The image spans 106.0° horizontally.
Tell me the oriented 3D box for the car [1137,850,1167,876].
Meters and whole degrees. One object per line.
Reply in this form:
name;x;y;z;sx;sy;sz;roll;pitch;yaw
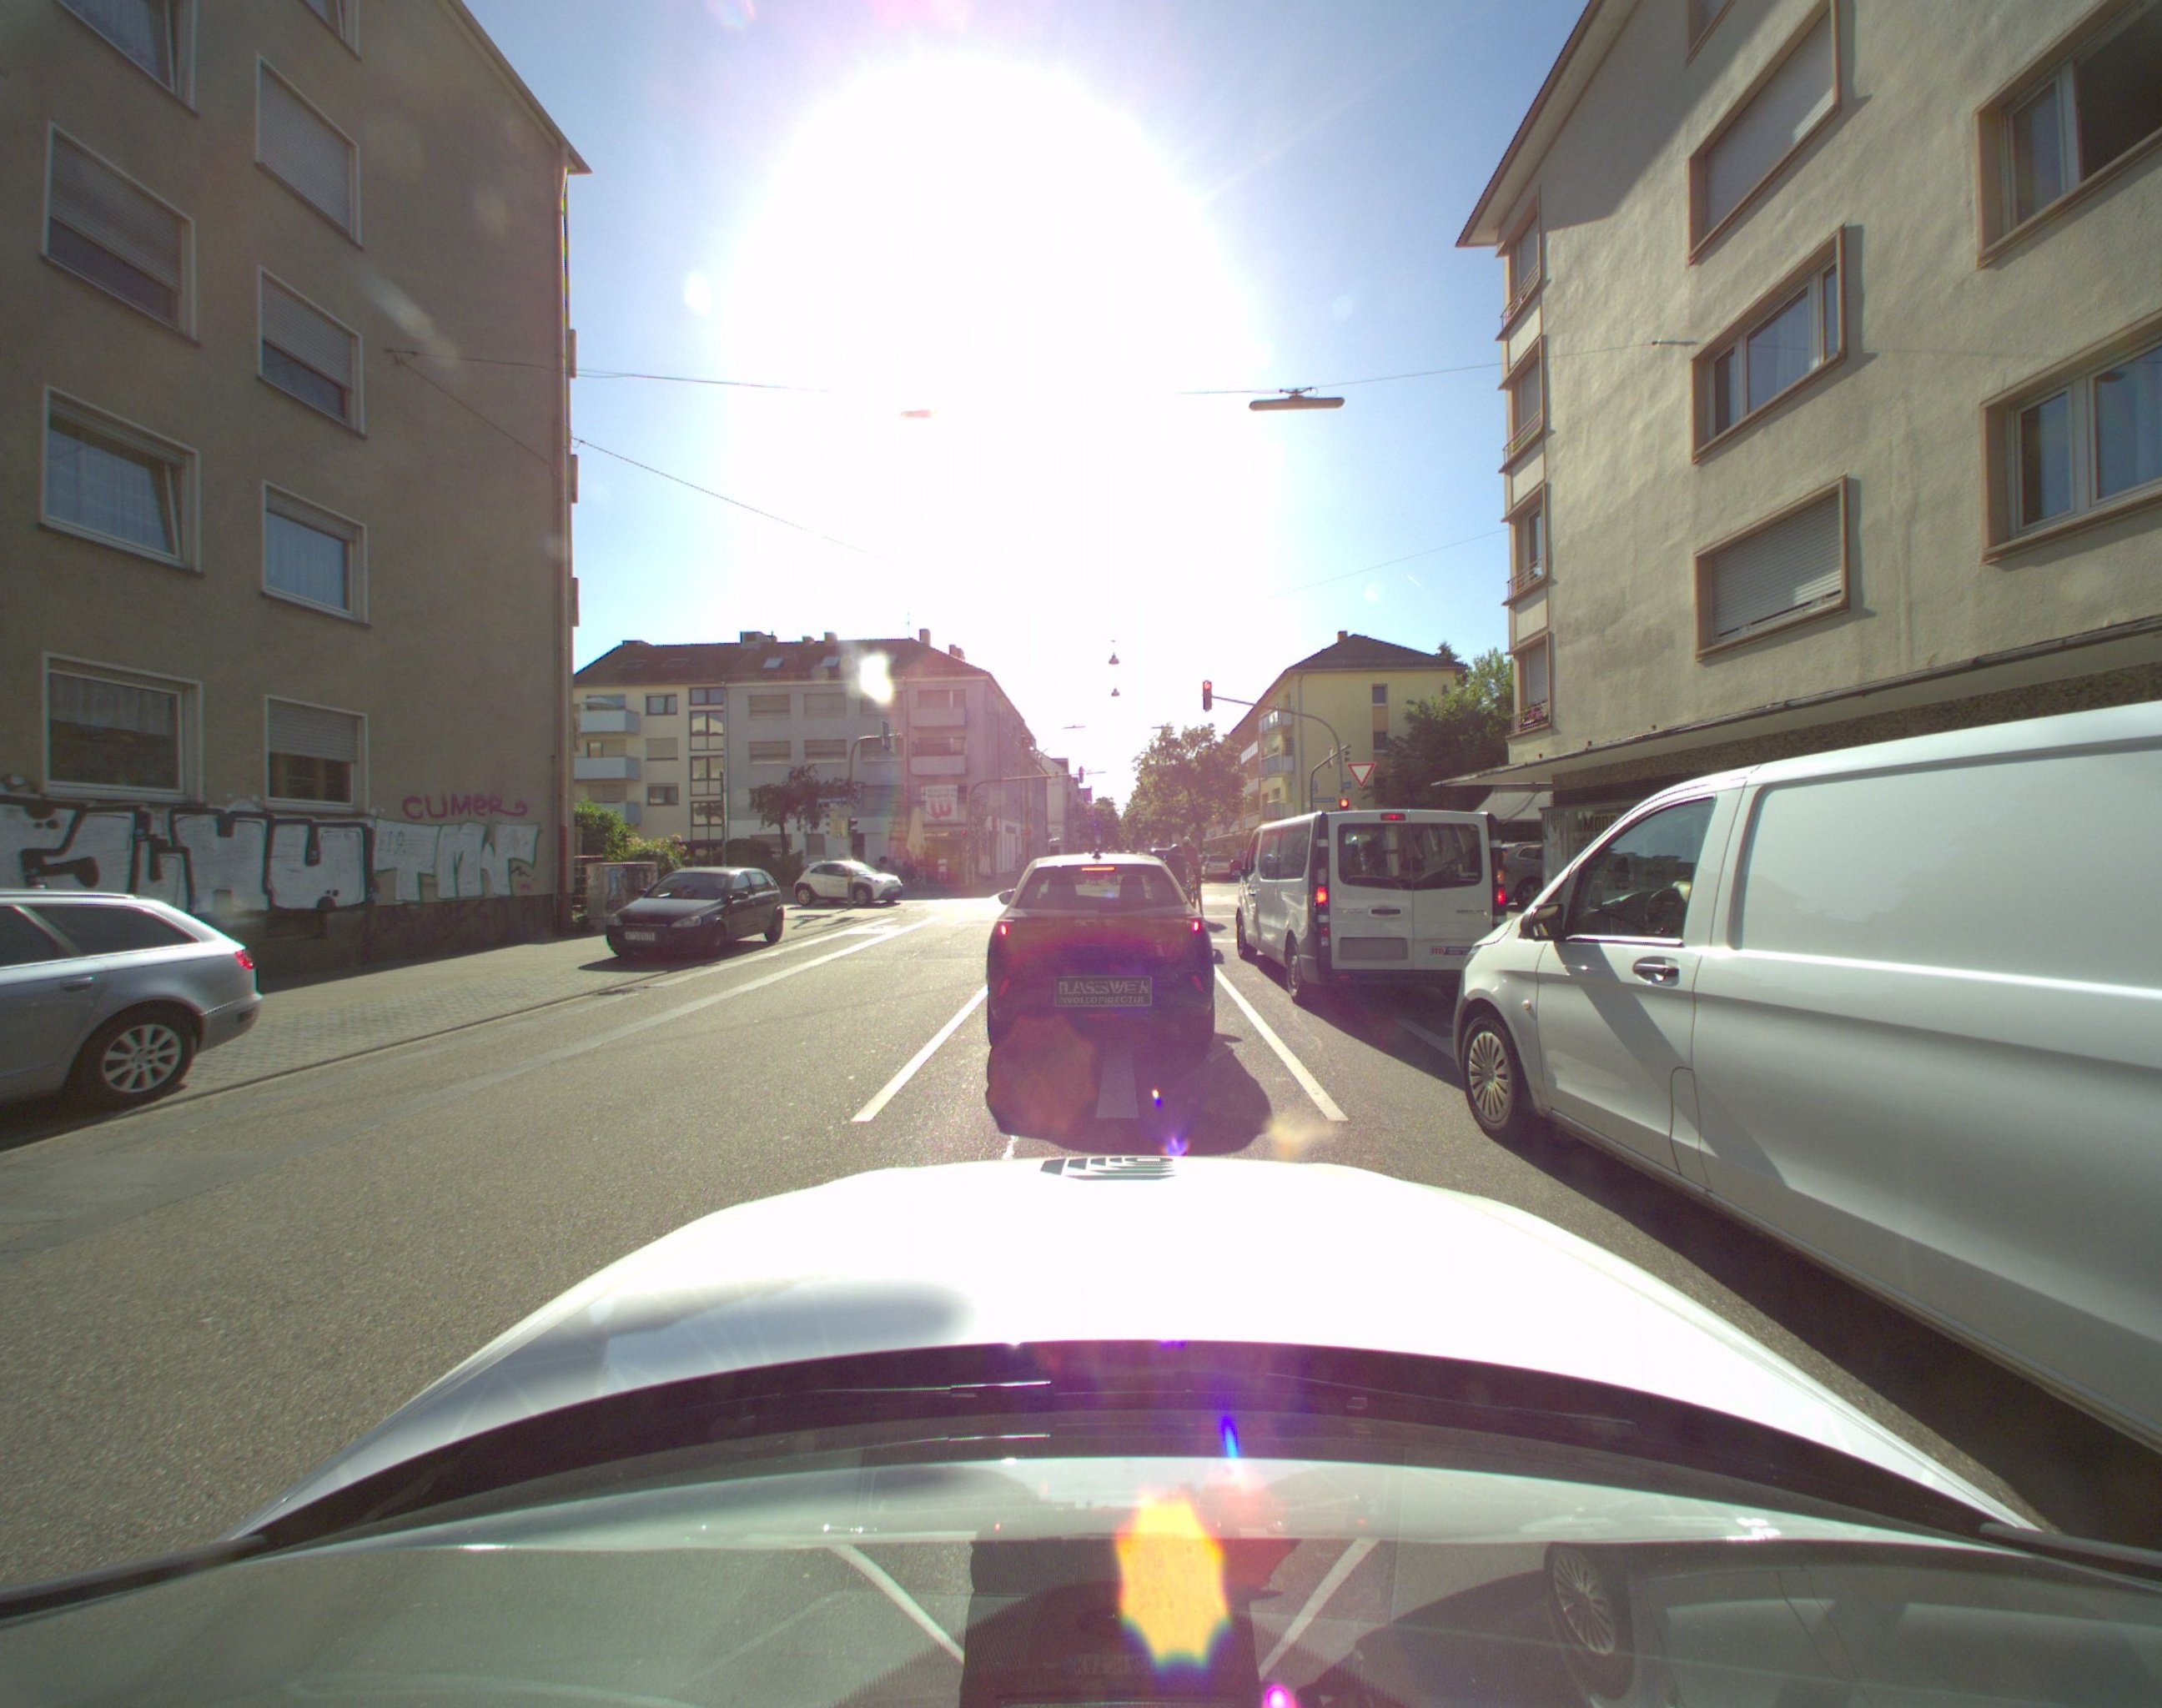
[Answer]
car;4.854;0.602;56.003;1.894;1.728;4.003;-1;0;3

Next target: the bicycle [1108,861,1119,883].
bicycle;1.813;0.976;45.203;0.520;1.147;2.170;-1;0;1

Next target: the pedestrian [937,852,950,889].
pedestrian;-6.752;0.795;39.945;0.560;1.775;0.582;-1;0;-6

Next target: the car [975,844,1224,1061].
car;0.160;0.708;7.877;1.764;1.530;4.000;-1;0;1

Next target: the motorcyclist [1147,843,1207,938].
motorcyclist;1.588;0.584;13.650;0.860;1.502;1.160;-1;0;1

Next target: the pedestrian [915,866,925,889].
pedestrian;-7.784;1.156;39.368;0.354;1.092;0.462;-1;0;-1

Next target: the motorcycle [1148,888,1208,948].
motorcycle;1.595;1.045;13.668;0.822;0.845;1.885;-1;0;2

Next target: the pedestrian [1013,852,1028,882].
pedestrian;-3.358;0.714;45.337;0.704;1.678;0.802;-1;0;0

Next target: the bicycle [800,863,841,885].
bicycle;-14.288;1.078;44.665;2.102;1.172;0.735;-1;0;-21

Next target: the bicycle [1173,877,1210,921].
bicycle;2.548;1.015;19.023;0.575;0.904;2.301;-1;0;1

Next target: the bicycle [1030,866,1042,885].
bicycle;-2.514;1.215;45.522;0.520;0.992;2.339;-1;0;1

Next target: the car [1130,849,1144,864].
car;7.739;0.340;113.549;1.847;2.013;3.883;-1;0;2

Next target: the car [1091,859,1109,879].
car;2.007;1.594;85.697;1.842;2.013;4.002;-1;0;2

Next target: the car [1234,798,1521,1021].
car;3.137;0.485;9.814;1.984;1.979;4.901;1;0;4

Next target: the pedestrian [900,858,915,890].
pedestrian;-8.377;0.972;39.304;0.582;1.521;0.649;-1;0;-1

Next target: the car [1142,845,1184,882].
car;4.071;0.445;41.094;1.894;1.728;4.076;-1;0;3

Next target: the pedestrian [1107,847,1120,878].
pedestrian;1.797;0.454;45.198;0.704;1.701;0.802;-1;0;0

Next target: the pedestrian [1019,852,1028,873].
pedestrian;-4.146;0.613;58.785;0.615;1.521;0.724;-1;0;-1

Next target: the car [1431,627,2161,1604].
car;3.004;0.488;2.495;1.829;1.869;4.998;-1;0;2

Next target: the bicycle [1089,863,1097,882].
bicycle;0.651;1.027;45.127;0.441;0.992;2.069;-1;0;1

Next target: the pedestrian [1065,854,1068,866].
pedestrian;-2.008;0.830;115.198;0.400;1.675;0.418;-1;0;2

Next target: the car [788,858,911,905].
car;-8.034;0.938;28.362;3.743;1.536;1.780;-1;0;19

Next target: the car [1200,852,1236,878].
car;8.082;0.640;48.379;1.628;1.433;3.959;-1;0;3

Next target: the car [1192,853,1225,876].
car;8.302;0.658;53.228;1.628;1.433;4.002;-1;0;2

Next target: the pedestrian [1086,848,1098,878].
pedestrian;0.611;0.493;45.019;0.677;1.606;0.762;-1;0;0

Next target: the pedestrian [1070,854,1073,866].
pedestrian;-1.290;0.822;114.892;0.400;1.675;0.418;-1;0;2

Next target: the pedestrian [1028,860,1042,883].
pedestrian;-2.557;0.982;45.252;0.704;1.253;0.802;-1;0;0

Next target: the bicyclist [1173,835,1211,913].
bicyclist;2.560;0.448;18.887;0.687;1.712;1.414;-1;0;1

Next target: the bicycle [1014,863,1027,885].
bicycle;-3.380;1.119;45.530;0.520;1.147;2.284;-1;0;1

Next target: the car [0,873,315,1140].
car;-7.016;0.903;4.051;1.710;1.465;4.817;-1;0;2

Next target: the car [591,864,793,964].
car;-6.578;0.937;14.247;1.610;1.425;3.712;1;0;2
